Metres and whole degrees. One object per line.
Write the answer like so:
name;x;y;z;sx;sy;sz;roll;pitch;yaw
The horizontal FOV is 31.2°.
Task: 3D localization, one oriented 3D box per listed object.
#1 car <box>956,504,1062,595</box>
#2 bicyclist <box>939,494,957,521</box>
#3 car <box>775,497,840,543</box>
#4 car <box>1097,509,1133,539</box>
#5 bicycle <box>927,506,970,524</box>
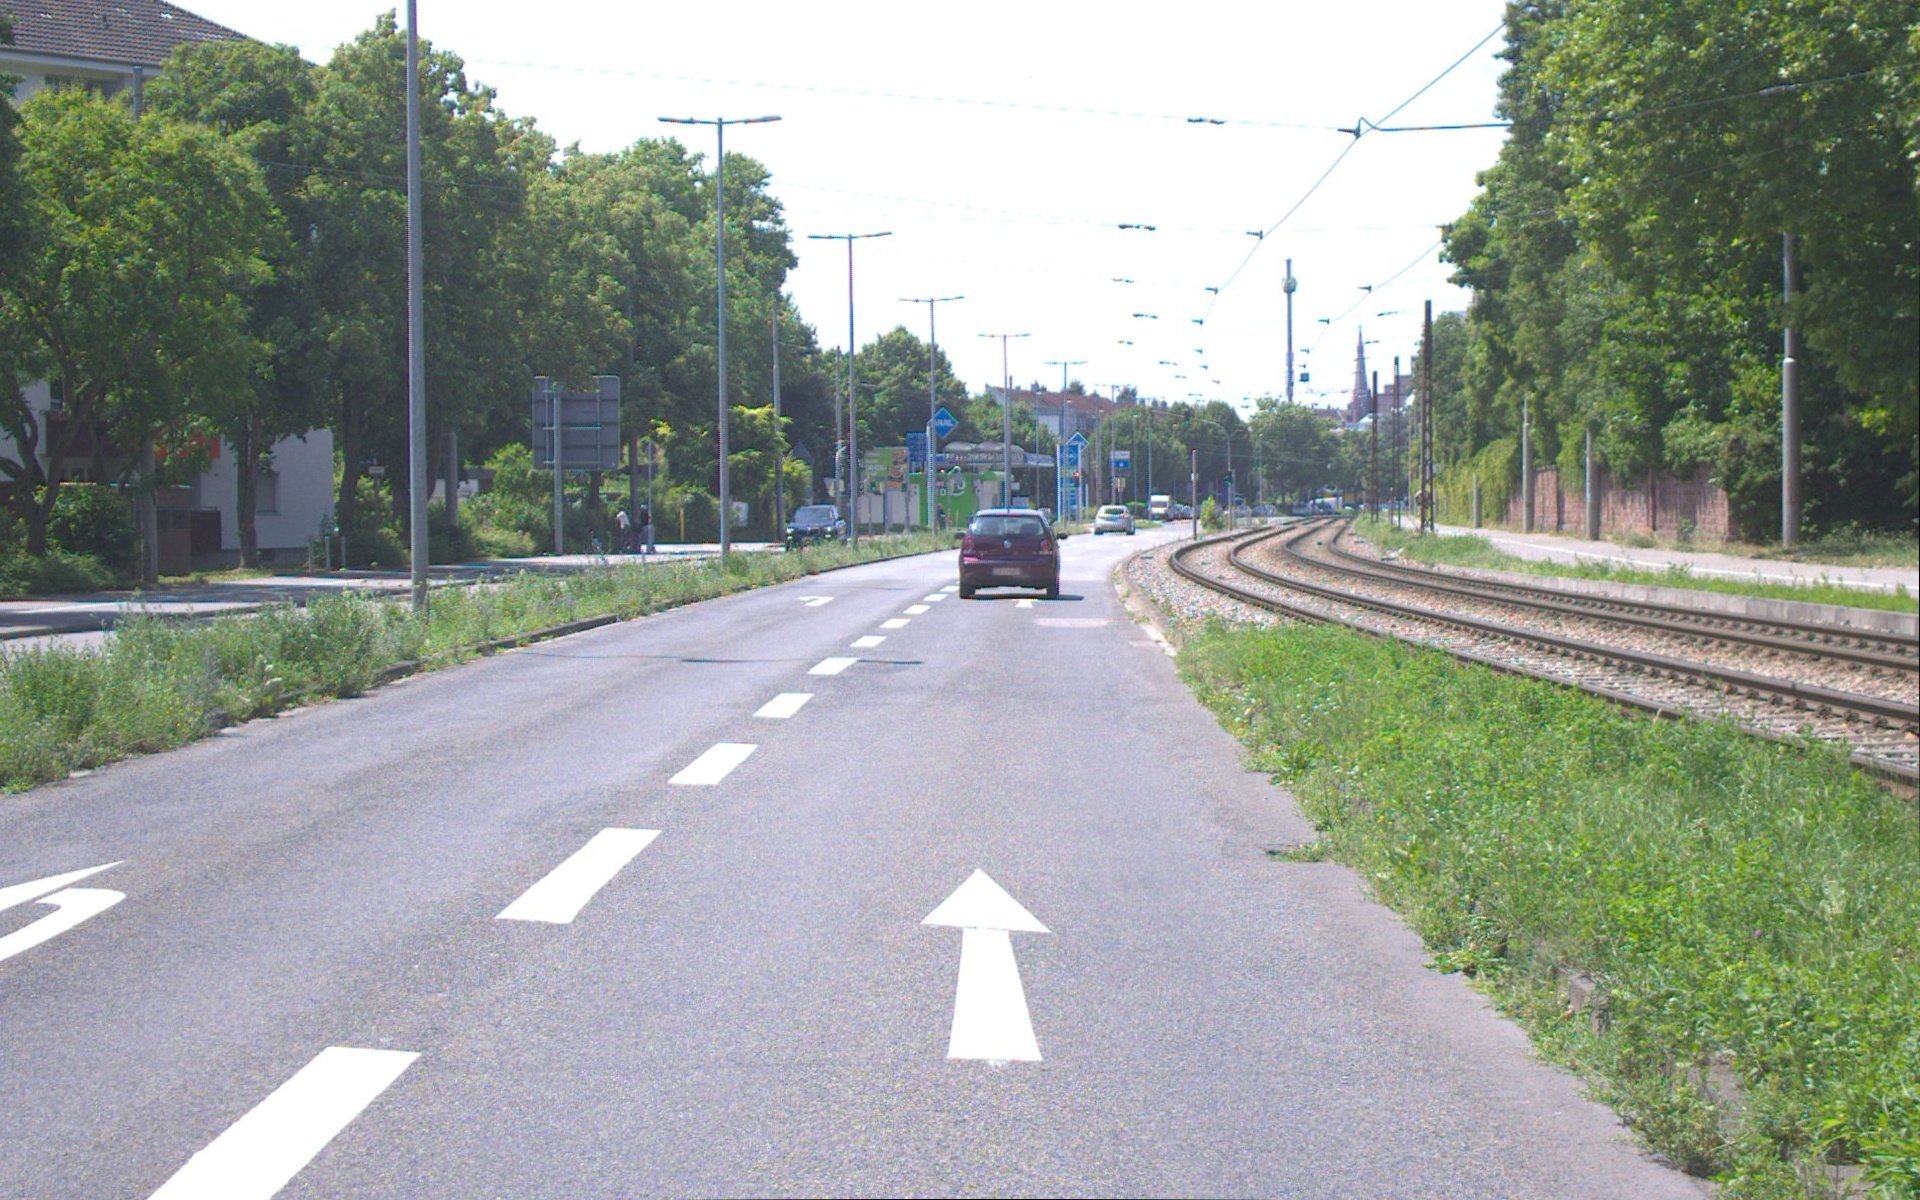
car;0.832;-0.821;56.954;1.703;1.472;3.716;0;0;2
bicyclist;-0.749;-5.658;210.115;0.944;1.588;1.088;1;1;-7
car;-5.537;-2.918;125.693;1.923;1.620;4.756;-2;1;2
car;7.785;-3.818;172.809;1.703;1.475;3.716;1;1;2
bicycle;-0.705;-5.201;210.098;2.549;1.034;1.088;1;1;-7
